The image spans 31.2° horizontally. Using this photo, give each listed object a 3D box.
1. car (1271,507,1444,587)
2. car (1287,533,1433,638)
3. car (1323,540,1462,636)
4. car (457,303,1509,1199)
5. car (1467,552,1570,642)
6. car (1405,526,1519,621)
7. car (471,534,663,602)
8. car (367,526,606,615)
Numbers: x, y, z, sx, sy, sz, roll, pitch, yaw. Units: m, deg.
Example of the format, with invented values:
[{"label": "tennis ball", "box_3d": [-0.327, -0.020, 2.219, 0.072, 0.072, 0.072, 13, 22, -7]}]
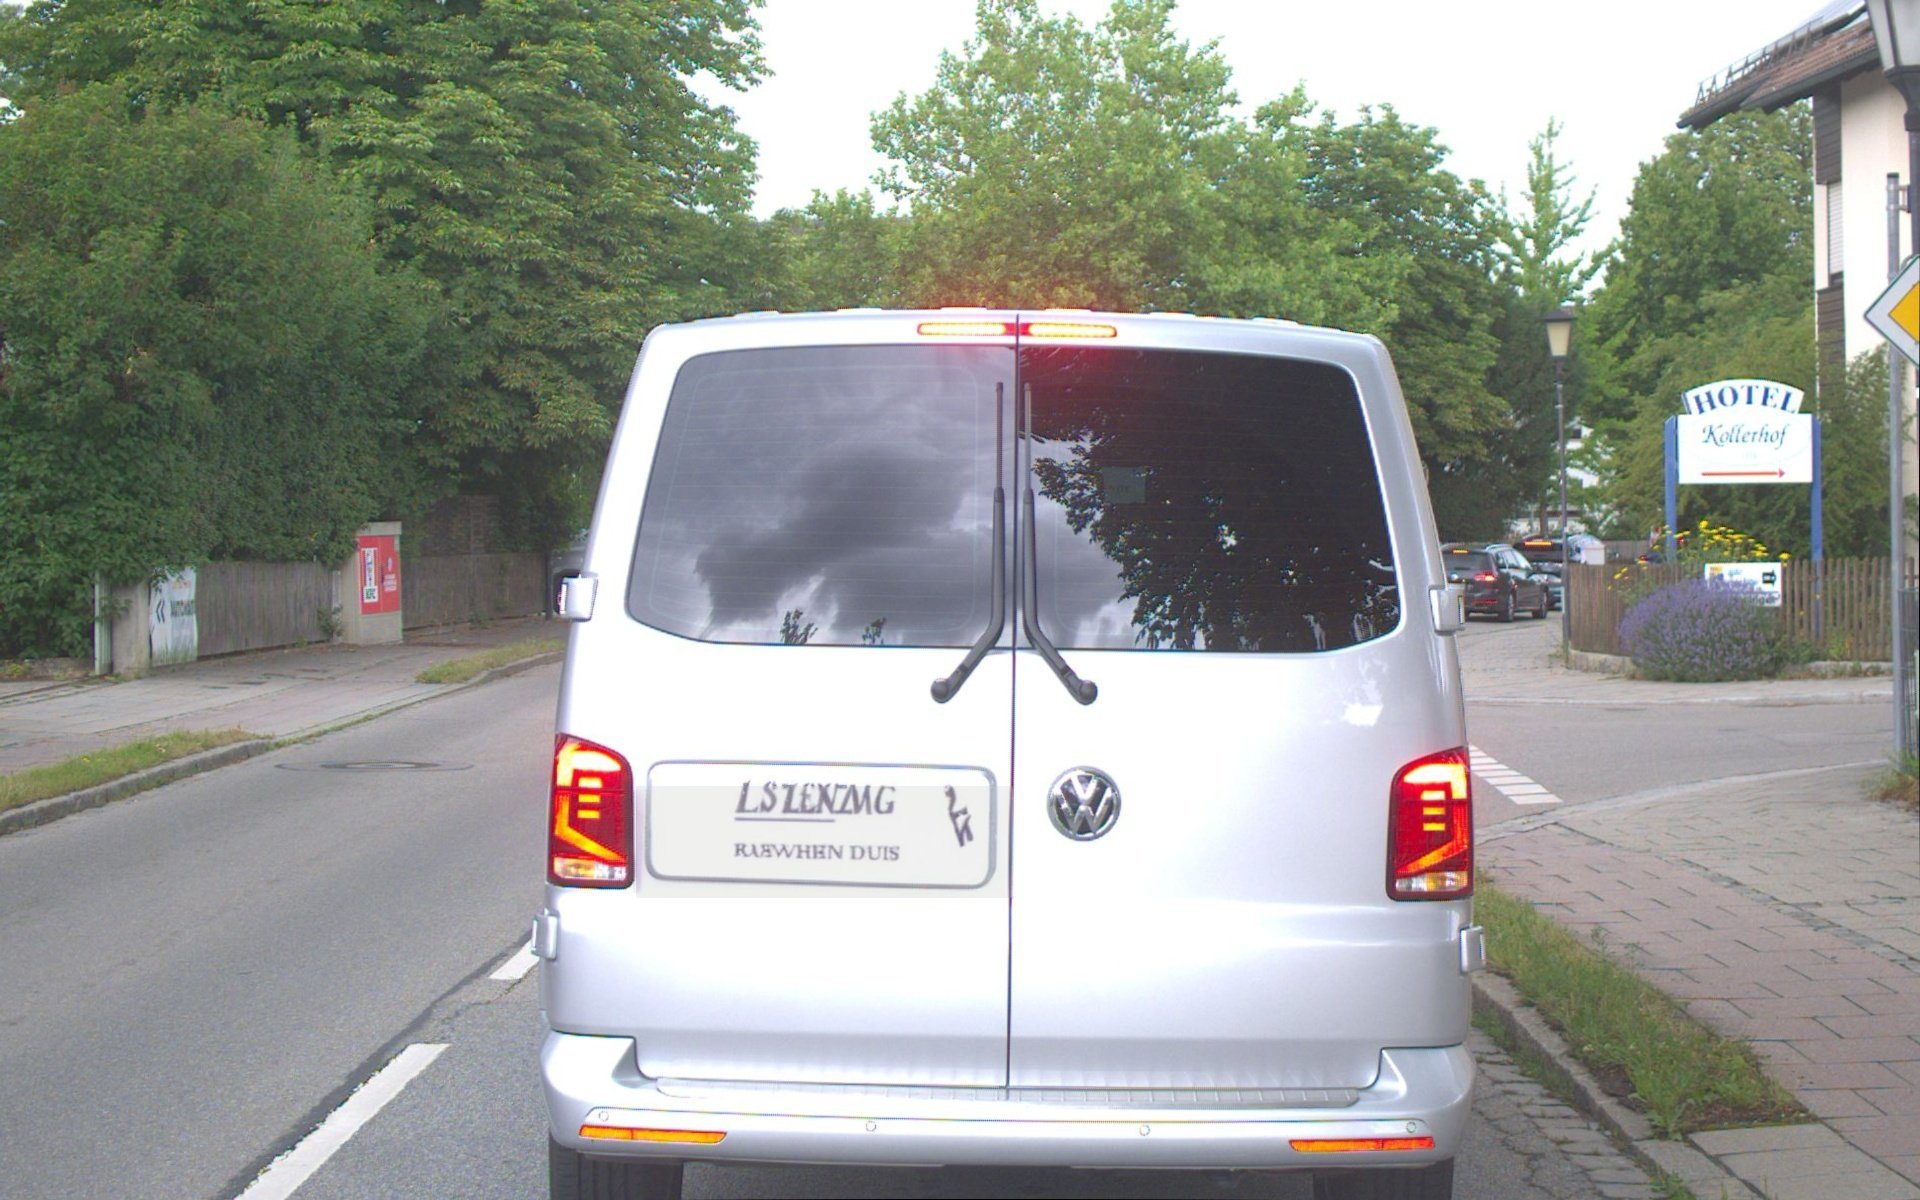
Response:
[{"label": "car", "box_3d": [9.305, -1.247, 80.381, 3.910, 1.819, 1.886, -2, 1, -42]}, {"label": "car", "box_3d": [6.135, -0.246, 52.405, 1.882, 1.530, 3.919, 0, 1, 12]}, {"label": "car", "box_3d": [7.245, -0.230, 57.270, 1.882, 1.530, 3.918, 0, 1, 13]}, {"label": "car", "box_3d": [0.052, 0.404, 8.150, 1.881, 1.934, 3.921, 0, 1, 0]}, {"label": "car", "box_3d": [11.840, -0.077, 72.695, 1.882, 1.819, 3.918, 0, 1, 13]}, {"label": "car", "box_3d": [9.647, -0.528, 65.865, 1.882, 1.742, 4.078, 0, 1, 12]}, {"label": "car", "box_3d": [-7.934, -0.657, 69.256, 3.749, 1.341, 1.584, 0, 1, -10]}, {"label": "car", "box_3d": [-8.114, -0.518, 58.963, 3.986, 1.481, 2.001, 0, 1, -8]}]
